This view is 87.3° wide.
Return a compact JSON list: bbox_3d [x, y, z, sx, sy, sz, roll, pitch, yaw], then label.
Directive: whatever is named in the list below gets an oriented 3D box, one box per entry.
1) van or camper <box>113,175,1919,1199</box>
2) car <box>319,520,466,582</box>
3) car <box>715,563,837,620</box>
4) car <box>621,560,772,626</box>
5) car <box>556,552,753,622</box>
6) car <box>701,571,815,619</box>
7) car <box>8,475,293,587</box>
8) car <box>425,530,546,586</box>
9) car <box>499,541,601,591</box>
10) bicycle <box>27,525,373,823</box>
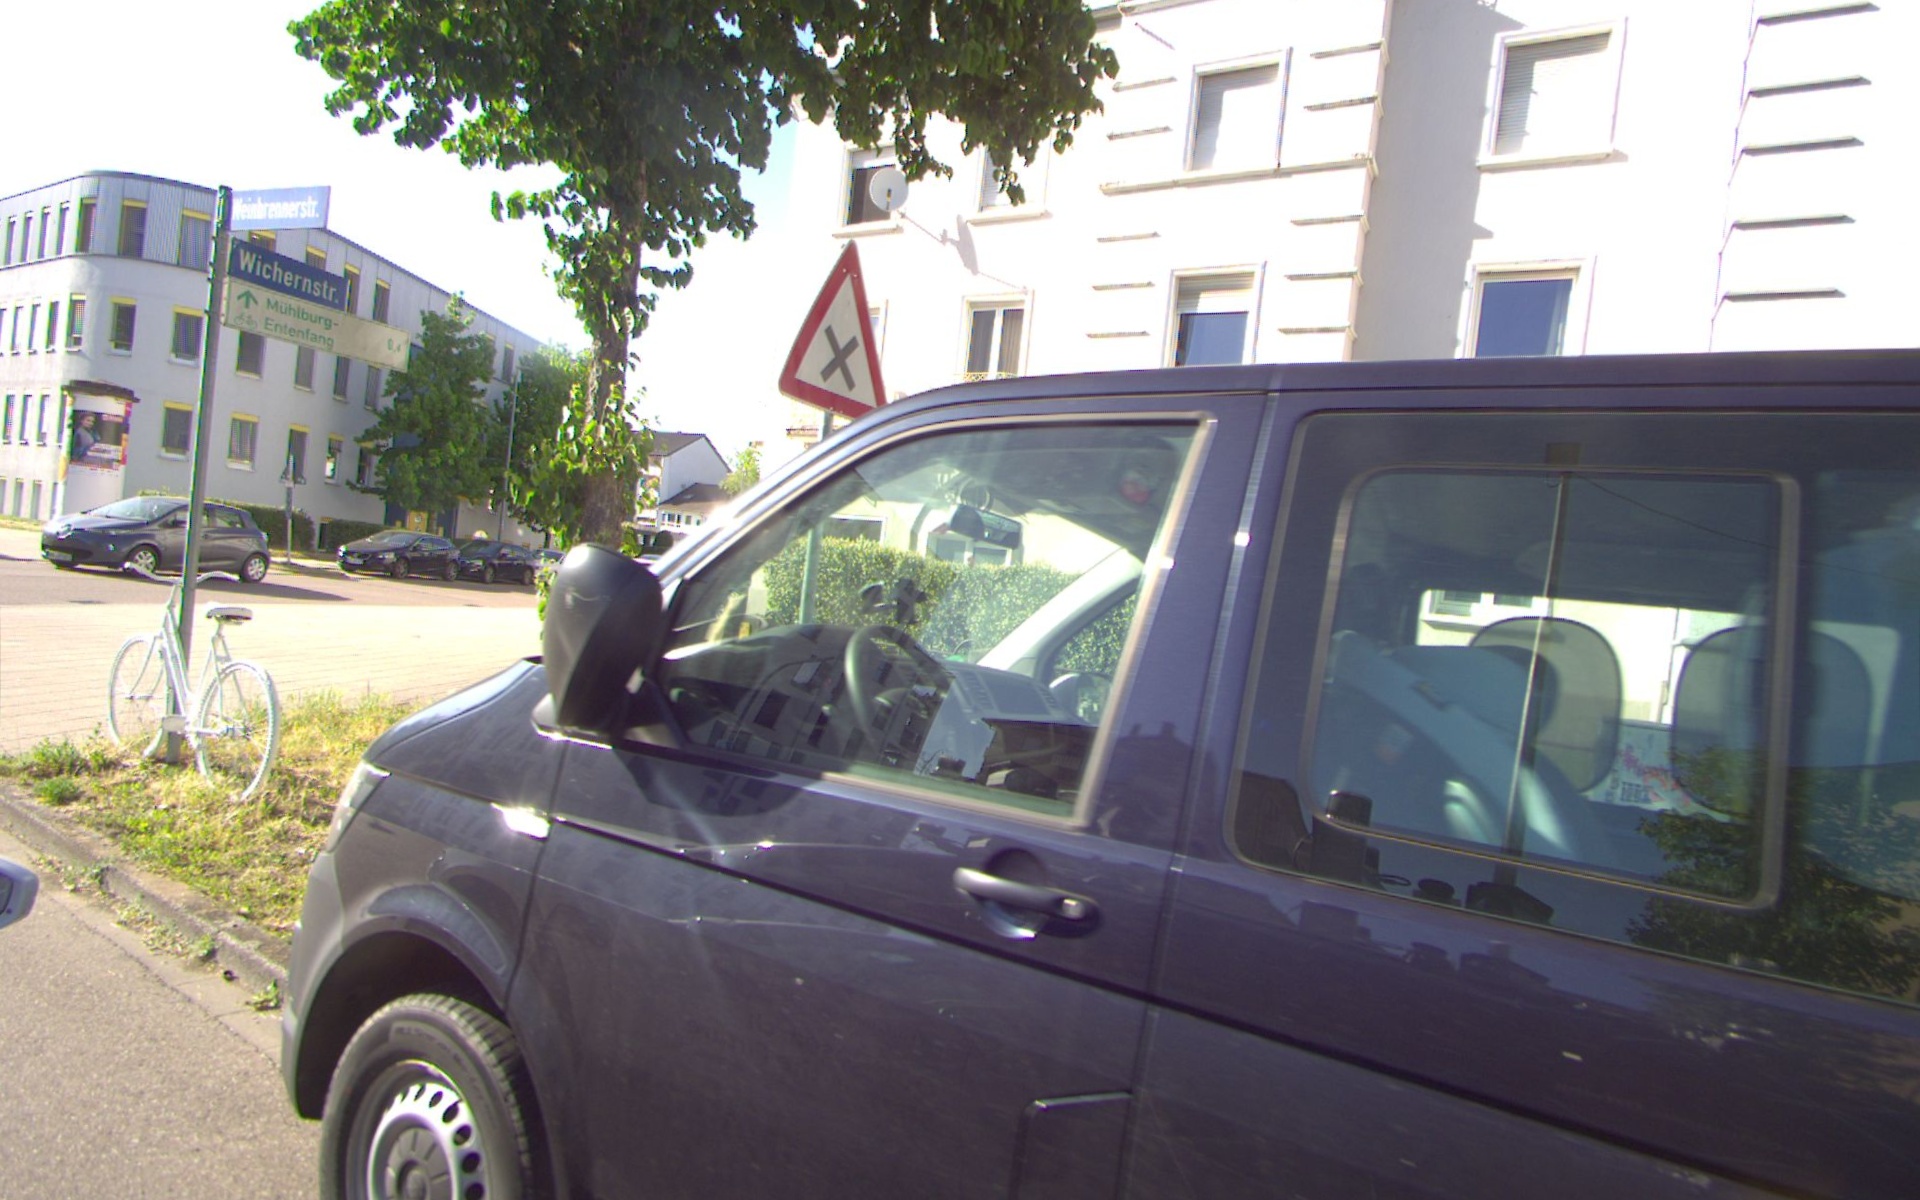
[{"bbox_3d":[0.978,0.680,1.747,5.297,1.884,1.993,6,-2,31],"label":"van or camper"},{"bbox_3d":[-17.237,-1.441,30.814,1.761,1.428,4.224,8,0,3],"label":"car"},{"bbox_3d":[-7.631,-0.331,41.828,4.487,1.921,2.031,5,-1,-36],"label":"car"},{"bbox_3d":[-8.186,-0.207,31.296,4.125,1.515,1.810,7,-2,-29],"label":"car"},{"bbox_3d":[-8.375,-0.337,27.680,4.816,1.483,1.957,4,2,-30],"label":"car"},{"bbox_3d":[-7.707,-0.161,38.403,3.946,1.507,1.607,5,-1,-27],"label":"car"},{"bbox_3d":[-15.392,-1.231,19.488,1.808,1.521,4.141,7,-1,5],"label":"car"},{"bbox_3d":[-16.854,-1.432,36.000,1.878,1.497,4.382,7,-1,3],"label":"car"},{"bbox_3d":[-16.534,-1.319,40.892,1.878,1.548,4.626,7,-1,3],"label":"car"},{"bbox_3d":[-3.956,0.314,5.183,1.995,1.208,0.529,7,0,27],"label":"bicycle"}]
